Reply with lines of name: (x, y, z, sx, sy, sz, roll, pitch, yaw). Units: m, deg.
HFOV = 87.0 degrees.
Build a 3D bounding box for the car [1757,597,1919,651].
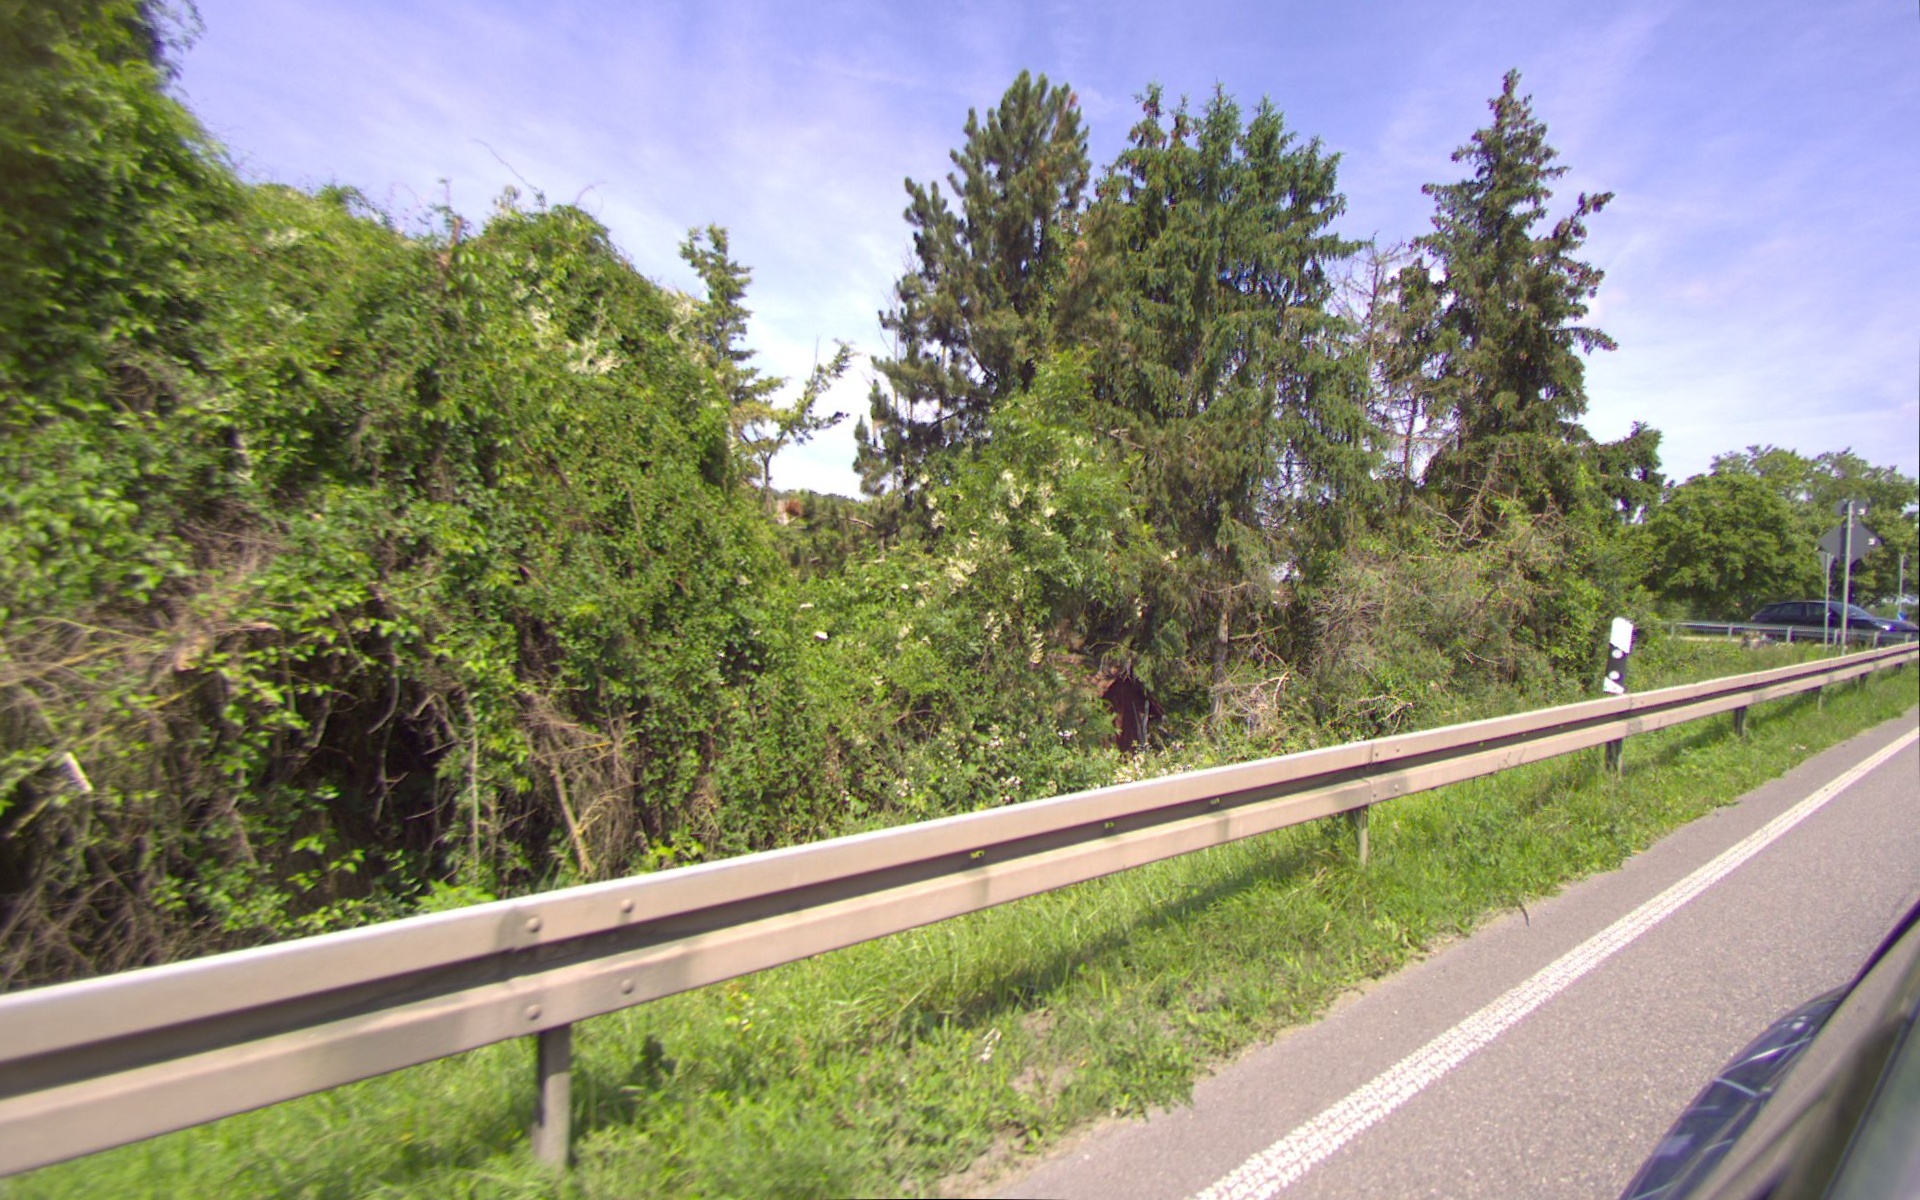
car: (28.885, 0.736, 32.820, 2.021, 1.610, 4.438, 1, 0, -14)
